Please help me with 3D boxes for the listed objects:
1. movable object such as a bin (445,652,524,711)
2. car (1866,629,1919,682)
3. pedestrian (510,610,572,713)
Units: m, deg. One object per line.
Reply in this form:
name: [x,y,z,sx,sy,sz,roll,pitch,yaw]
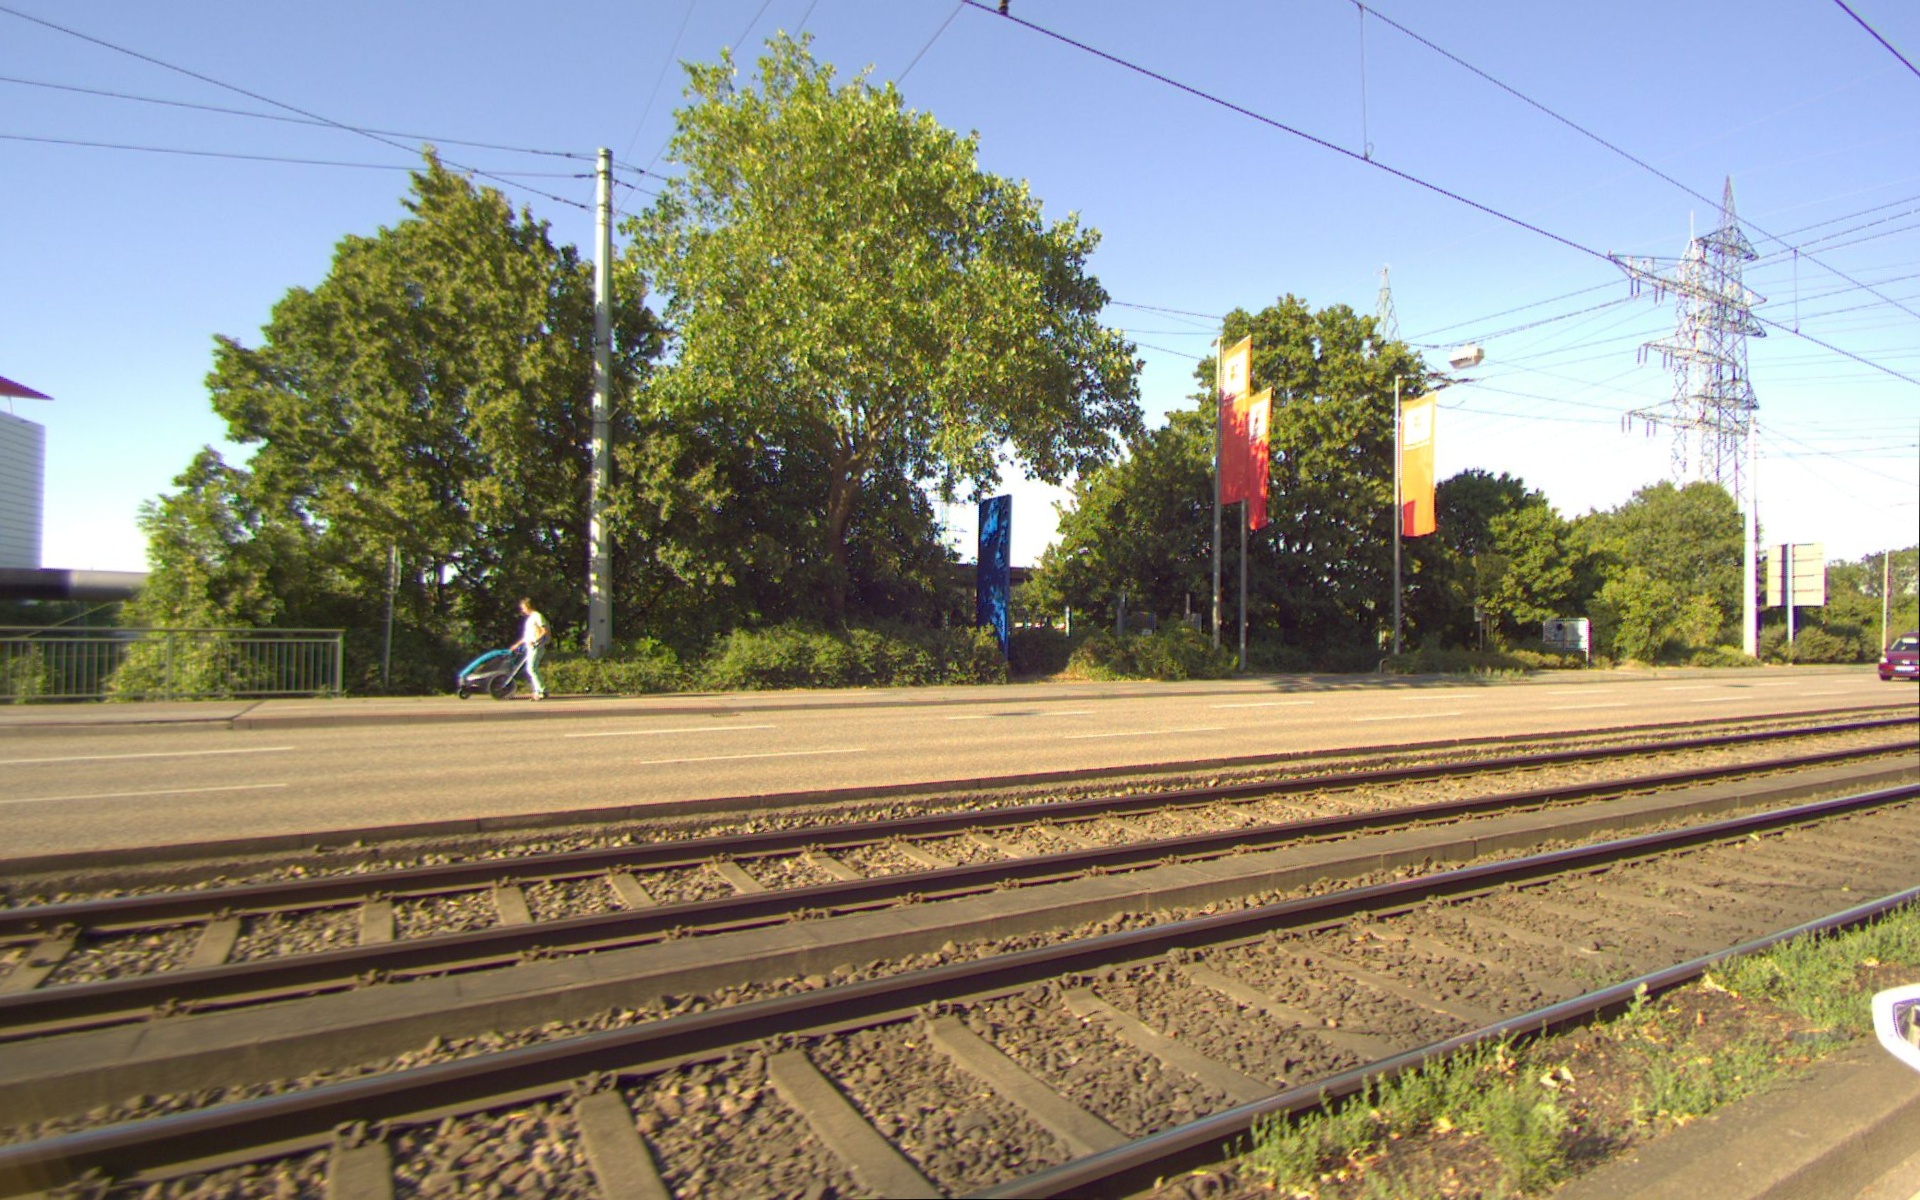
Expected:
movable object such as a bin: [-8.525,1.461,18.060,1.081,0.974,0.725,2,1,-8]
car: [34.395,1.941,35.917,3.953,1.743,1.854,0,-1,-30]
pedestrian: [-7.577,1.097,18.188,0.820,1.780,0.725,2,1,-8]
